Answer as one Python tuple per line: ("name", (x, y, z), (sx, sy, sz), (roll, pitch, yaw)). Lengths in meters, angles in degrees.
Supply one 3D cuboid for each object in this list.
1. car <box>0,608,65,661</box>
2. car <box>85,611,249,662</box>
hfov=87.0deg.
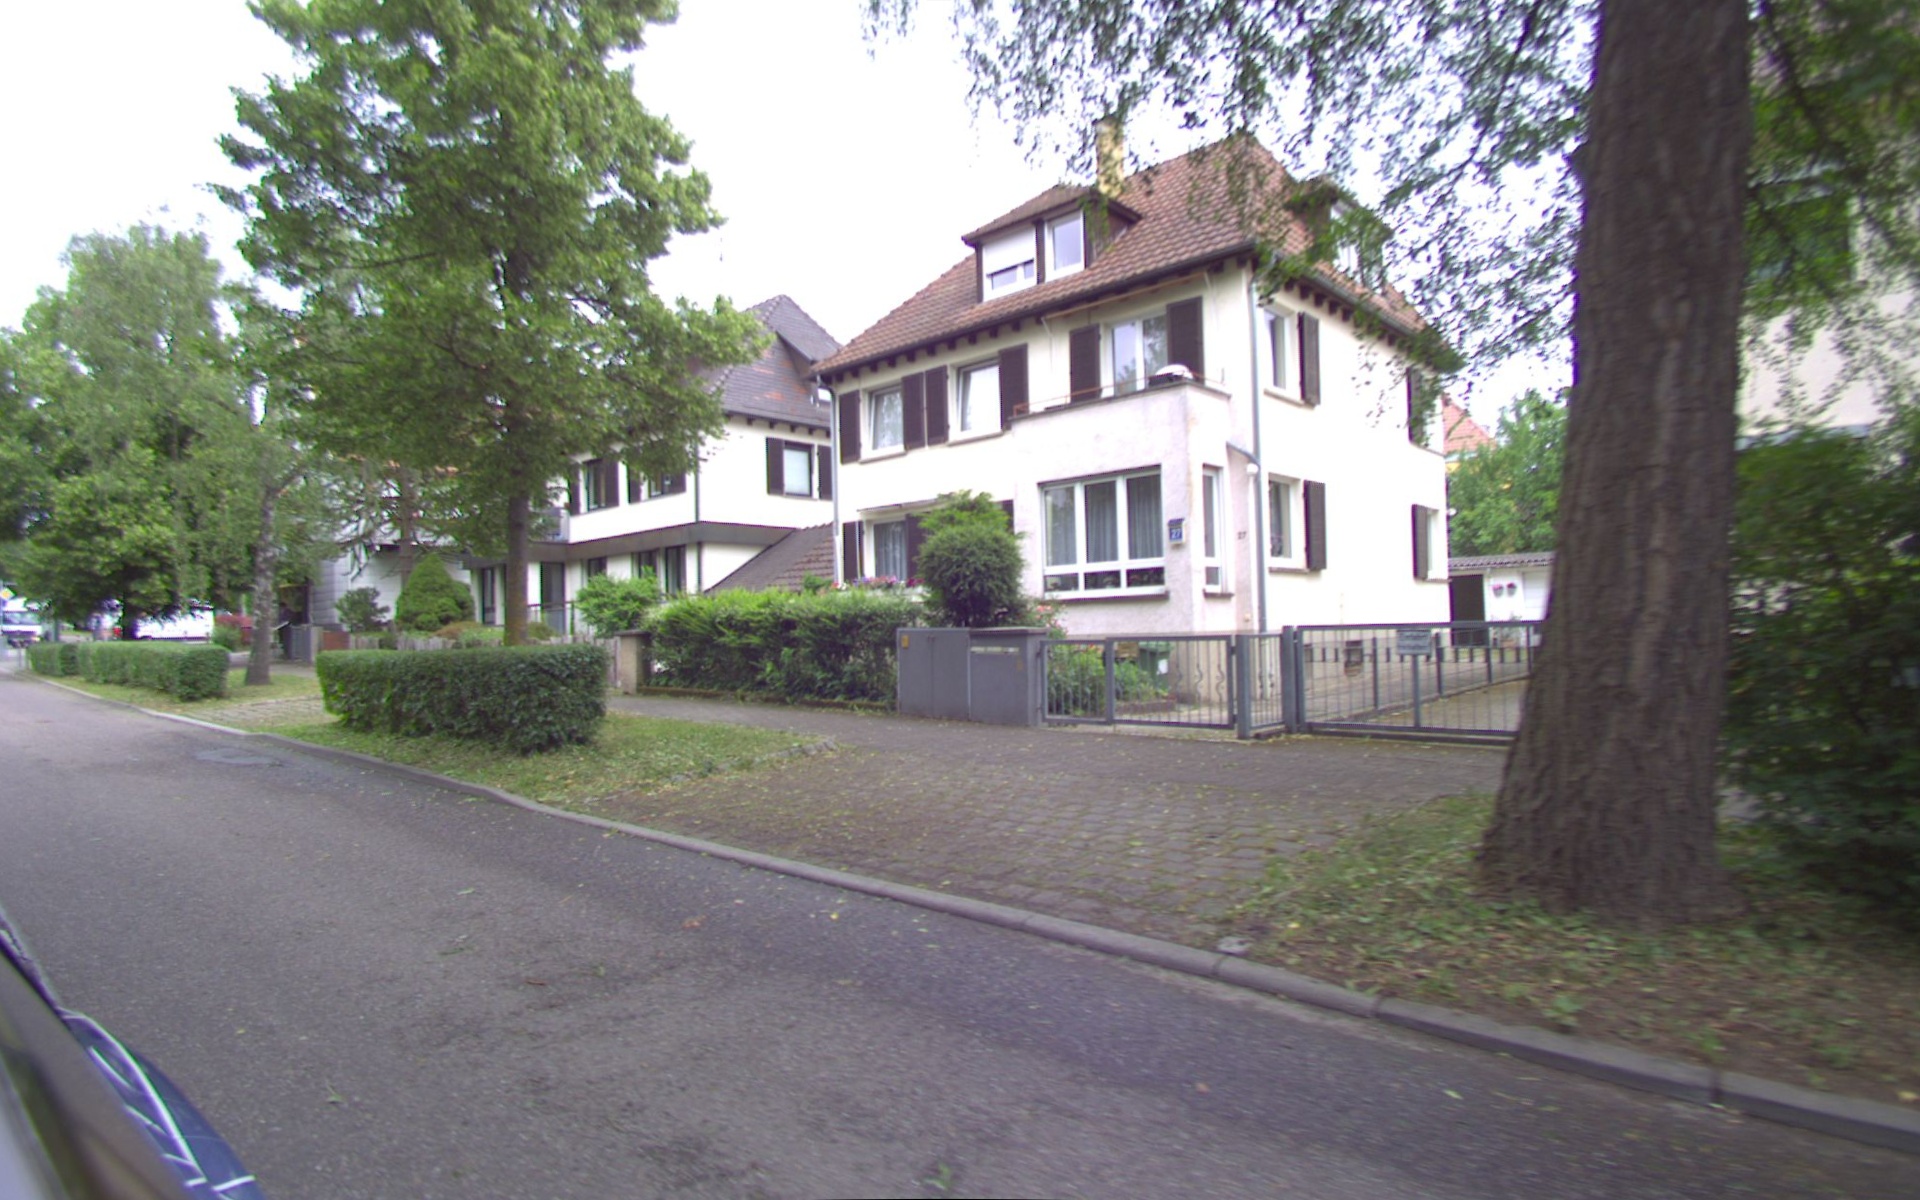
("car", (-61.057, 2.214, 66.280), (2.396, 3.300, 7.813), (1, -1, -32))
("car", (-38.946, 1.756, 49.972), (1.962, 2.365, 6.328), (-1, -1, 20))
